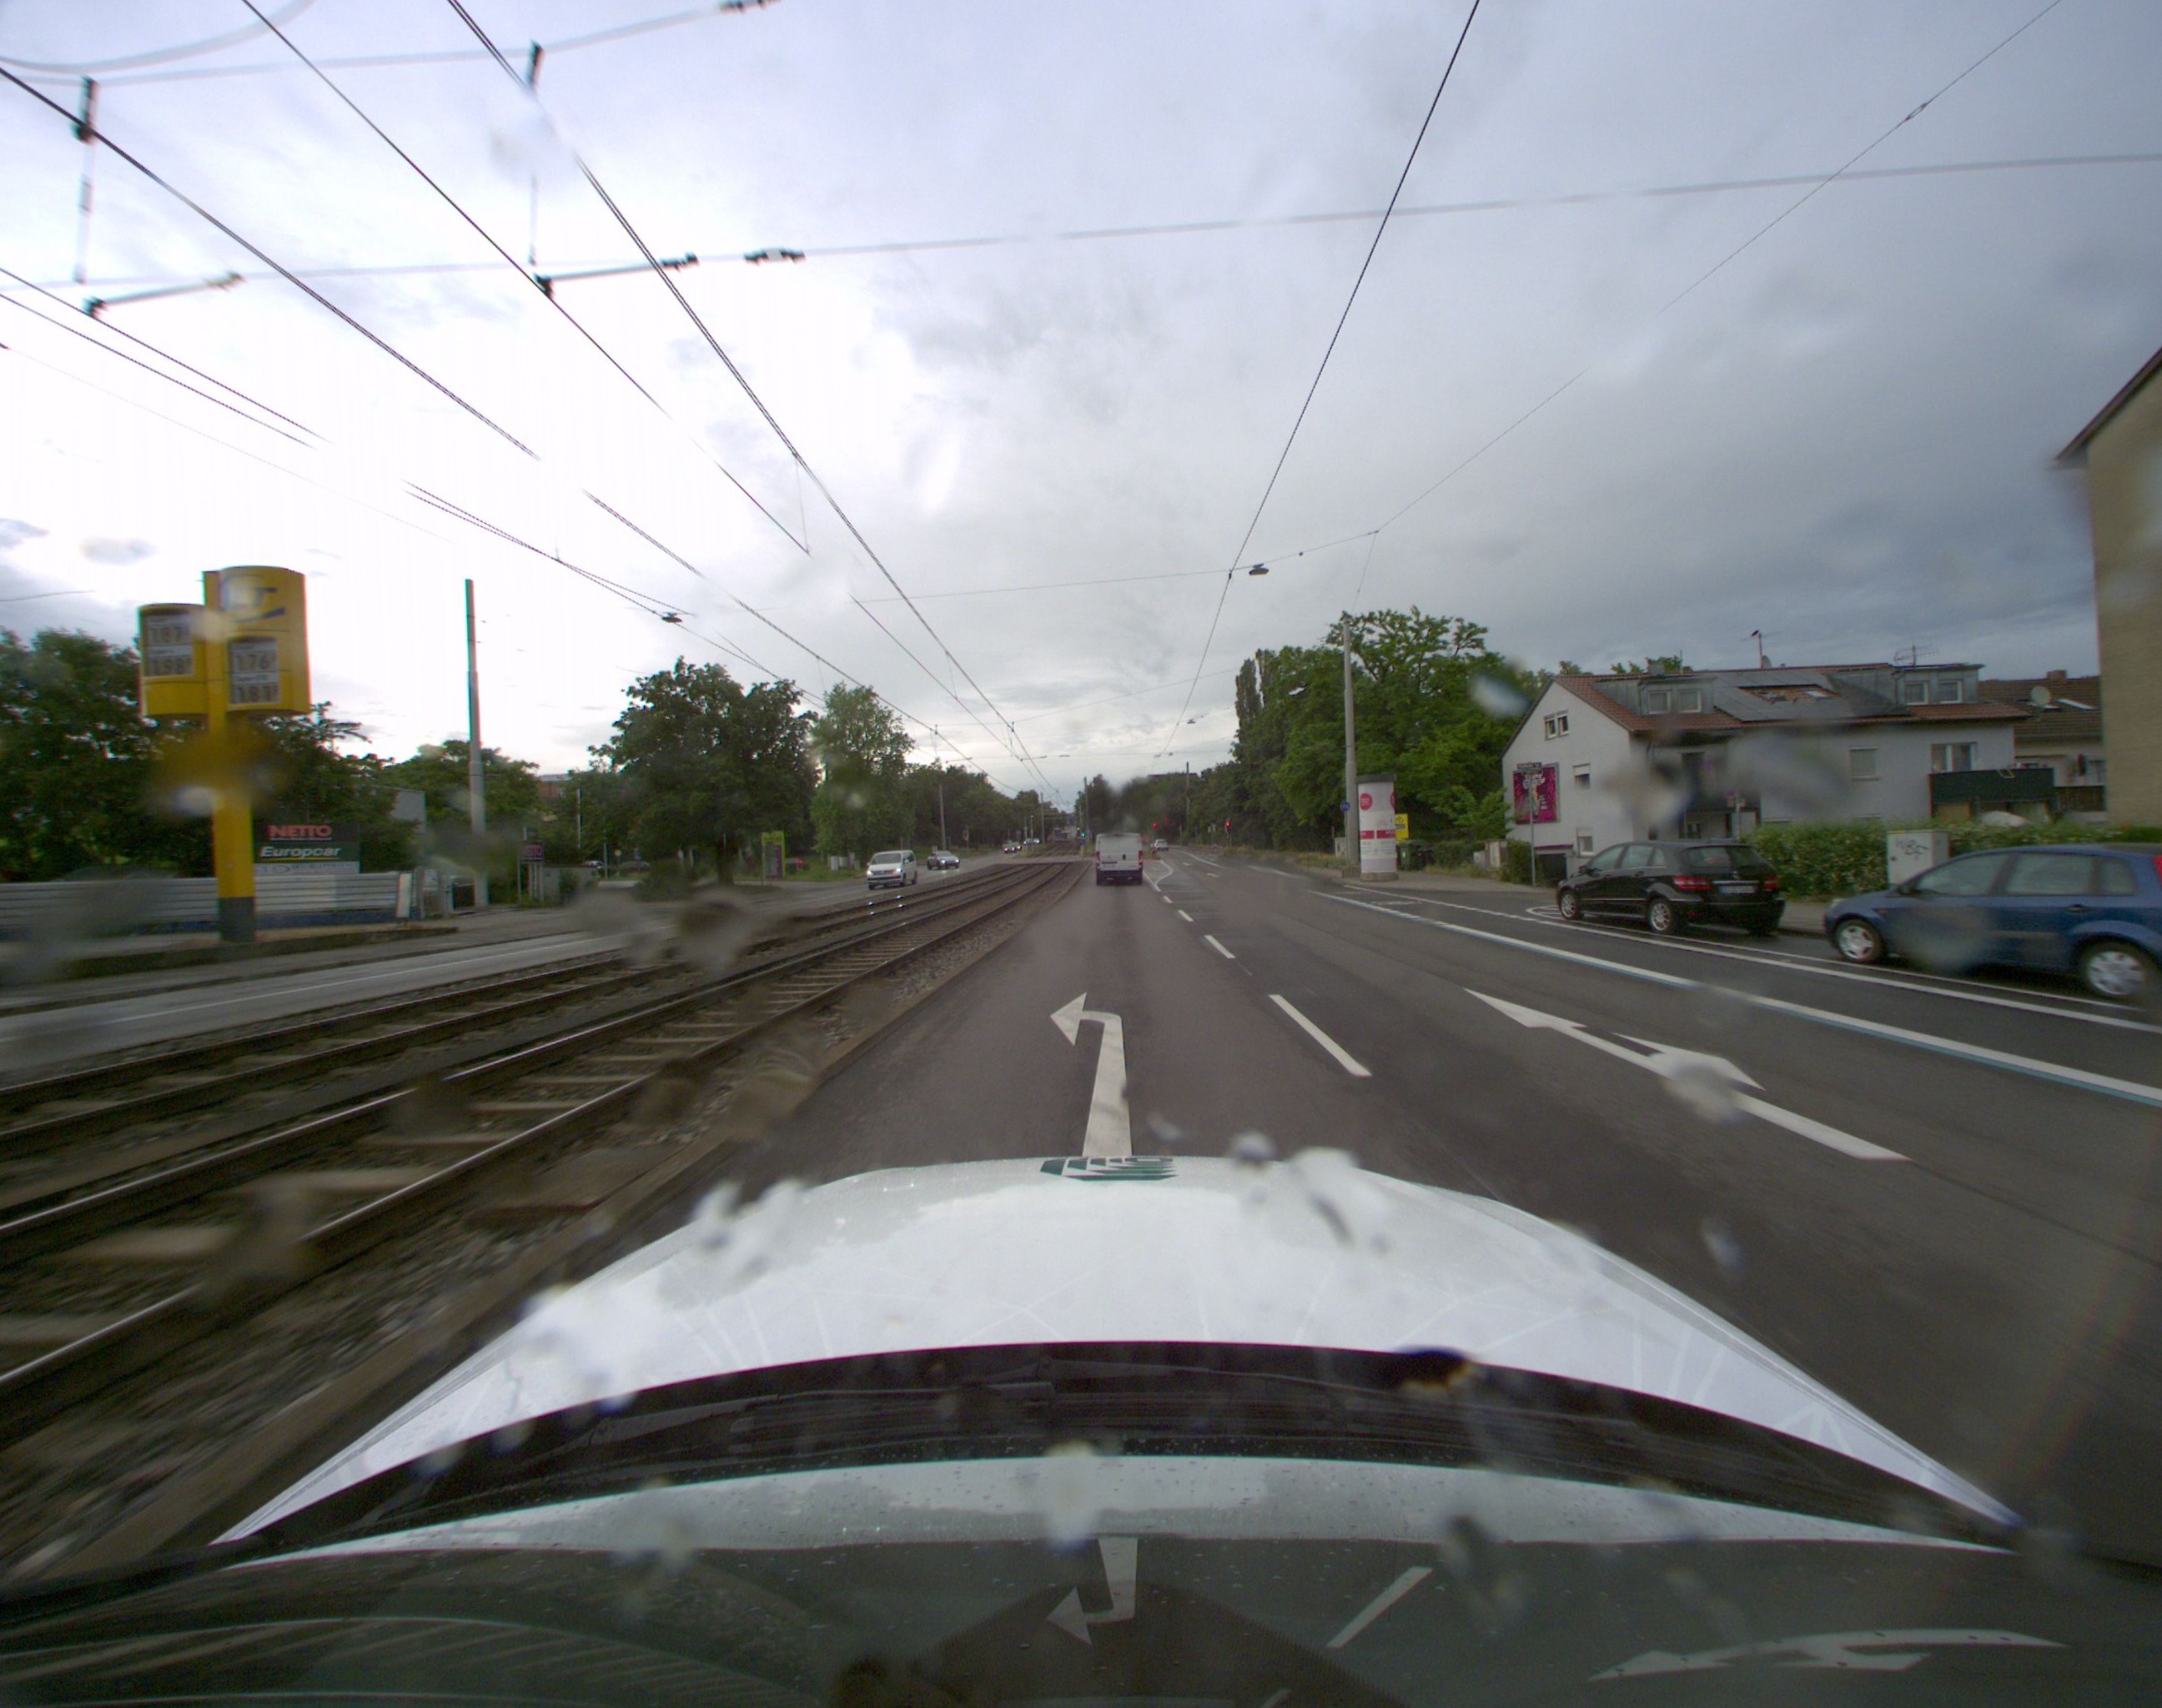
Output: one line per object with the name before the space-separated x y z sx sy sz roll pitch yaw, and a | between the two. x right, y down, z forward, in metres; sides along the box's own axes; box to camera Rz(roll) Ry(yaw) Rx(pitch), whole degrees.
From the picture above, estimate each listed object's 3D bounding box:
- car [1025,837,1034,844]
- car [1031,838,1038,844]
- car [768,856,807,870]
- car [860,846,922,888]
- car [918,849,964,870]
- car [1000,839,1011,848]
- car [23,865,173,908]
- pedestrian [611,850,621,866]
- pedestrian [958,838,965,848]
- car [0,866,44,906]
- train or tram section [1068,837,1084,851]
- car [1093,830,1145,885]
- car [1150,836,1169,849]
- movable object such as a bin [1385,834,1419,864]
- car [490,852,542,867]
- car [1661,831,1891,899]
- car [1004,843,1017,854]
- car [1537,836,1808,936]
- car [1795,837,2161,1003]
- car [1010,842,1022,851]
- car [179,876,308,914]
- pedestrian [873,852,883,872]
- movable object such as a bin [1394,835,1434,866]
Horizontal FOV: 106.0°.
car | -11.004 -2.949 173.379 1.596 1.401 3.791 -1 2 0
car | -11.202 -3.083 195.541 1.596 1.401 3.791 -1 2 0
car | -34.211 1.054 94.918 3.964 1.533 1.837 -1 0 -9
car | -10.276 0.641 44.465 1.987 2.013 5.060 -5 1 0
car | -13.093 0.520 75.949 2.011 1.649 4.703 -5 1 -40
car | -14.000 -1.952 151.455 1.714 1.553 3.862 -5 2 0
car | -41.067 1.324 34.177 1.684 1.651 3.991 -1 -1 -6
pedestrian | -47.705 0.375 83.493 0.672 1.602 0.608 -1 -1 7
pedestrian | -19.546 -1.807 132.714 1.012 1.600 1.038 -2 1 -5
car | -44.995 1.308 32.740 1.684 1.618 3.991 -1 -1 -6
train or tram section | -1.435 -2.829 242.015 4.045 3.894 15.042 -1 -1 1
car | 1.677 0.110 37.005 2.138 2.283 5.065 -1 1 2
car | 9.972 -1.508 103.729 1.701 1.521 3.785 -1 2 -6
movable object such as a bin | 15.534 -0.214 39.487 1.180 1.418 1.134 -1 -1 0
car | -71.807 0.713 103.511 5.120 1.805 1.997 -1 -1 -4
car | 17.917 0.269 21.178 4.252 1.655 1.882 0 -1 5
car | -10.456 -0.835 120.860 1.596 1.401 3.791 -1 2 0
car | 10.433 0.472 14.871 1.830 1.533 4.441 -1 1 2
car | 10.296 0.563 8.850 1.661 1.444 3.930 -1 0 1
car | -10.422 -1.222 130.949 1.596 1.402 3.791 -2 0 0
car | -35.905 1.731 35.058 1.684 1.456 3.991 -1 -1 -6
pedestrian | -16.021 0.652 64.142 0.589 1.532 0.668 -1 -1 1
movable object such as a bin | 15.514 -0.154 37.985 1.307 1.418 1.300 -1 -1 0
